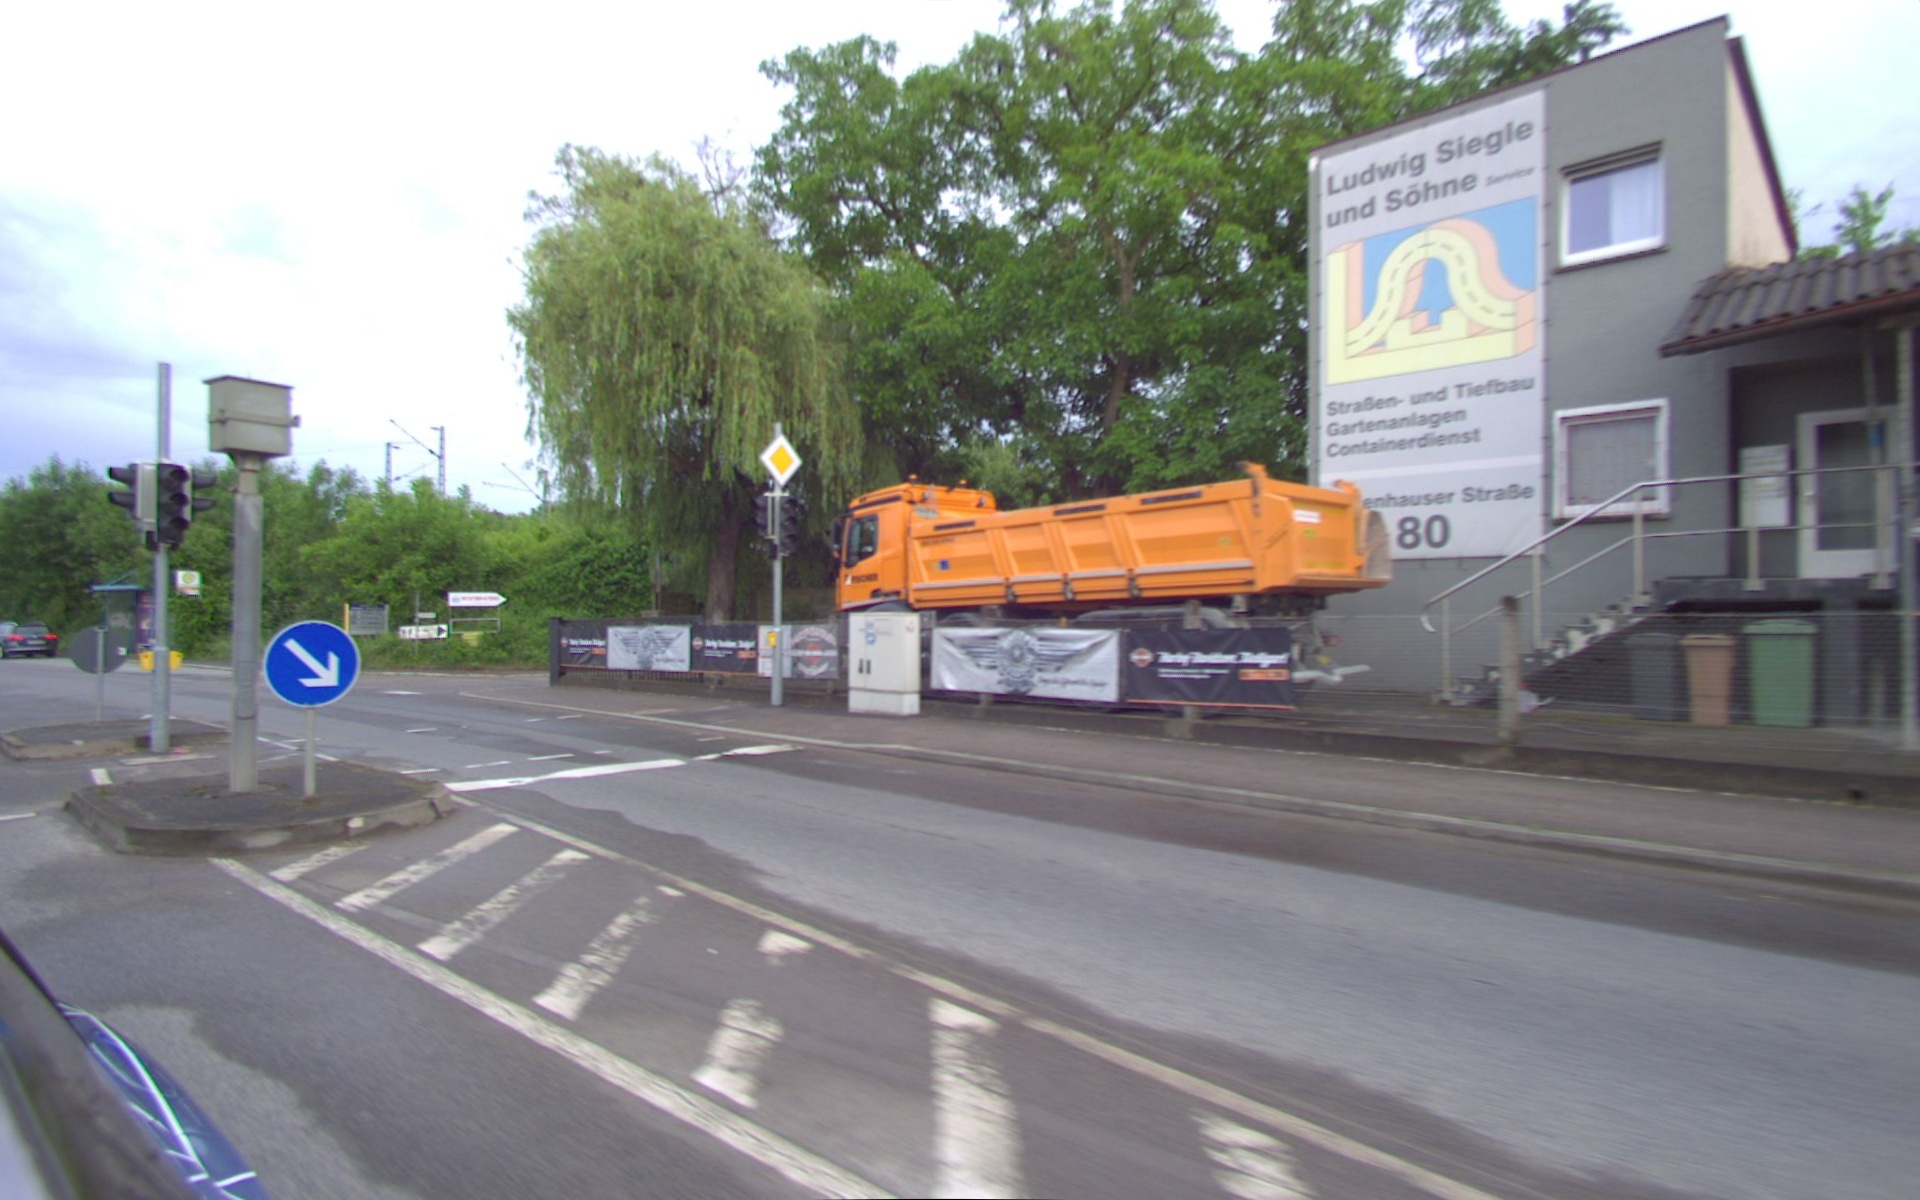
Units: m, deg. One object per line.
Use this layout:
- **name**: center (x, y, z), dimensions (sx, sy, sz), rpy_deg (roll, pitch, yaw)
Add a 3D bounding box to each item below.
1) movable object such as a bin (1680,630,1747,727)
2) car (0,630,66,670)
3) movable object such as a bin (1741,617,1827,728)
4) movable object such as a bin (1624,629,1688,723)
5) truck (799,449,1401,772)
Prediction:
- **movable object such as a bin**: center (7.916, 0.802, 10.625), dimensions (0.478, 0.963, 0.755), rpy_deg (-2, -2, 42)
- **car**: center (-39.565, 2.049, 42.259), dimensions (4.682, 1.485, 1.980), rpy_deg (-2, 1, 31)
- **movable object such as a bin**: center (8.345, 0.709, 10.250), dimensions (0.624, 1.064, 0.755), rpy_deg (-2, -2, 42)
- **movable object such as a bin**: center (7.555, 0.802, 10.979), dimensions (0.460, 0.963, 0.741), rpy_deg (-2, -2, 42)
- **truck**: center (1.380, 0.021, 14.931), dimensions (2.666, 3.437, 9.078), rpy_deg (-2, 2, -44)
